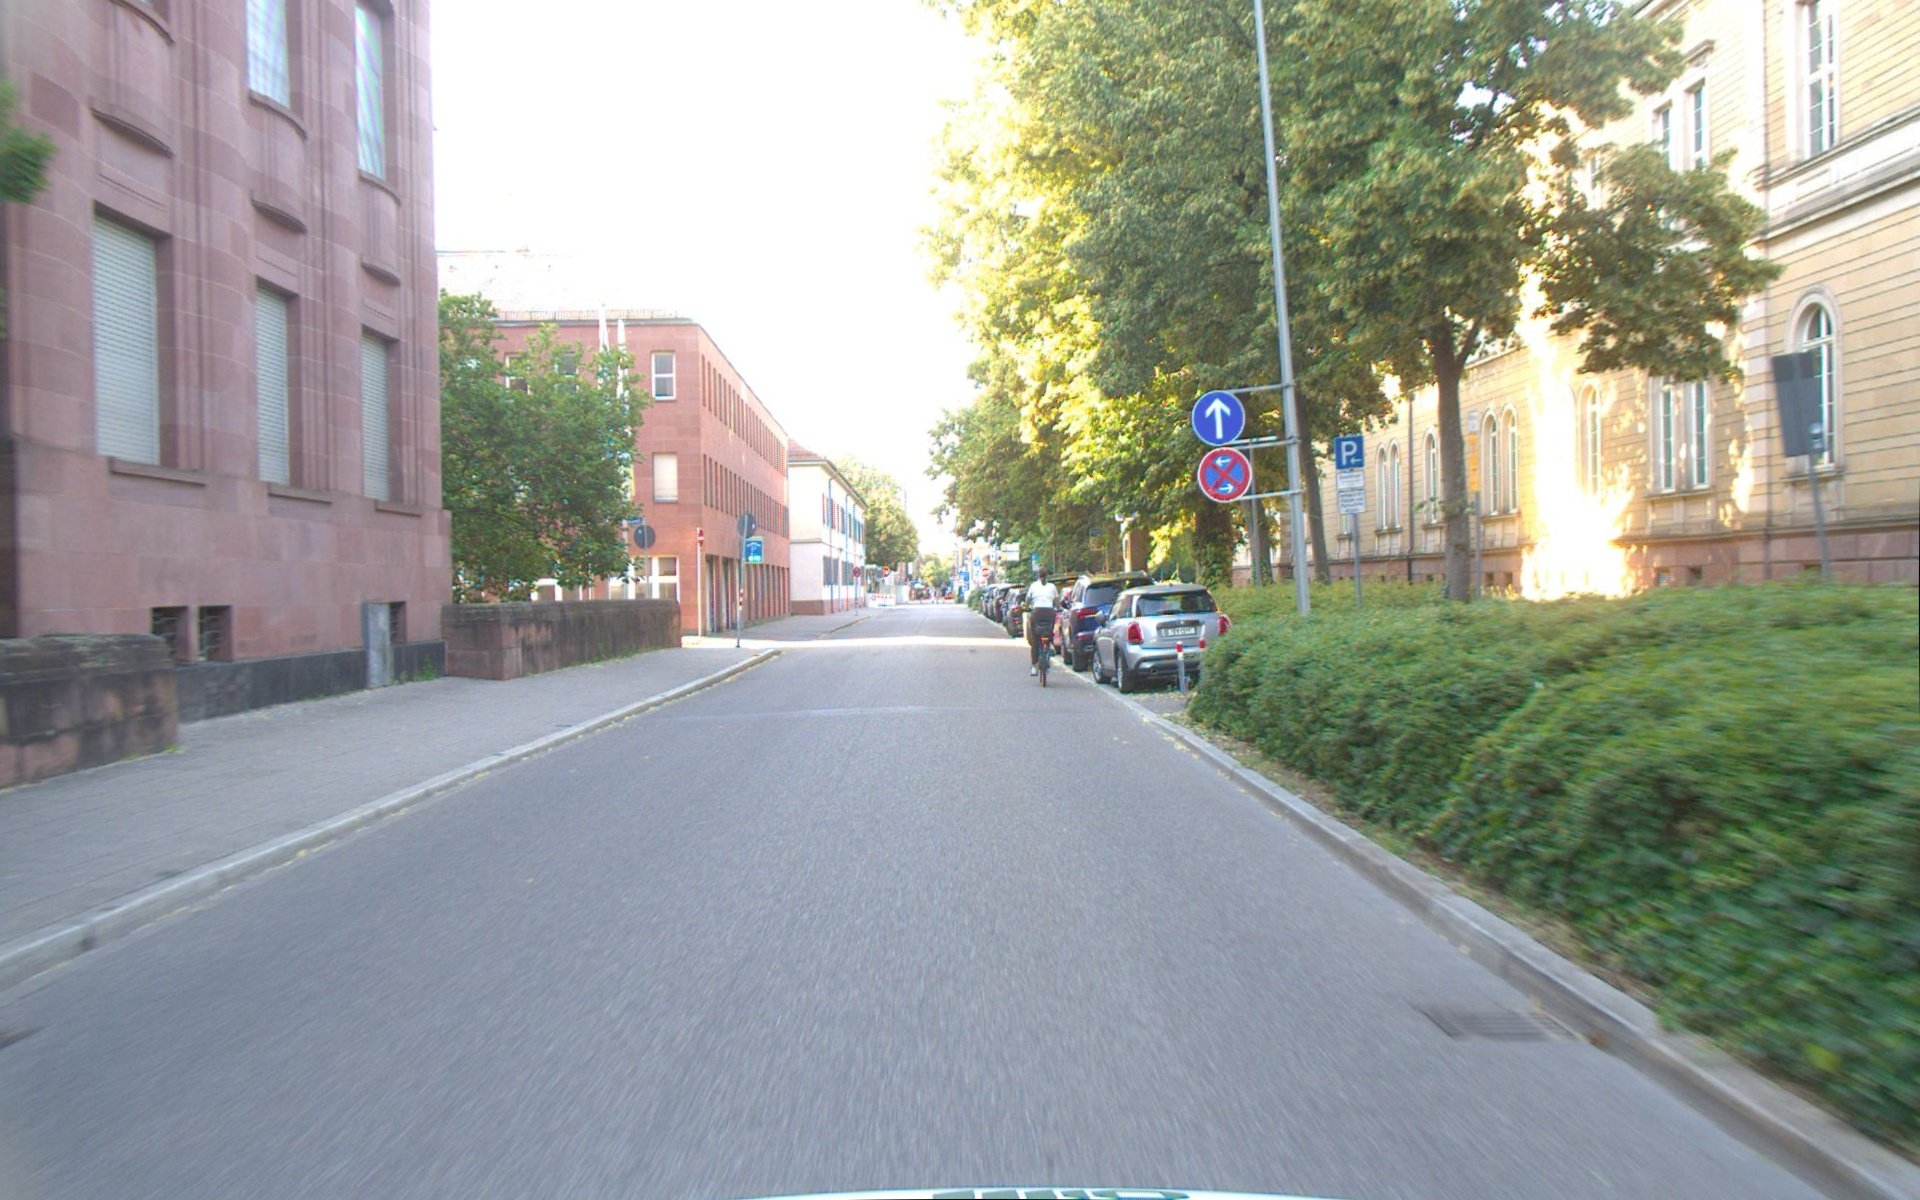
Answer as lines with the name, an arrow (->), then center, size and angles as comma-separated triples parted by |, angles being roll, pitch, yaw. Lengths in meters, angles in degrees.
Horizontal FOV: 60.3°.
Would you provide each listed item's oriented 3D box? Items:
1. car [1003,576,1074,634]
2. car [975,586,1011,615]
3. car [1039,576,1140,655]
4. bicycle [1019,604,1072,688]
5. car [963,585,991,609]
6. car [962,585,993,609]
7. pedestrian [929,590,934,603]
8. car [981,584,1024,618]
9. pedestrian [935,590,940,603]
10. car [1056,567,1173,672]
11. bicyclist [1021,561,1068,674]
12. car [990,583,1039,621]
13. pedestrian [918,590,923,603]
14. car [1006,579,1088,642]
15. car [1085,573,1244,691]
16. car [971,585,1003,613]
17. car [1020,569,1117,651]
car -> 2.516, 0.146, 53.760 | 1.953, 1.735, 3.999 | -2, 0, -2
car -> 1.987, 0.019, 100.509 | 1.953, 1.657, 3.999 | -2, 0, -2
car -> 2.768, 0.303, 36.080 | 1.681, 1.564, 4.047 | -2, 1, -2
bicycle -> 1.291, 0.677, 25.278 | 0.625, 1.214, 1.875 | 0, 0, -2
car -> 1.621, -0.304, 162.008 | 2.443, 2.234, 4.908 | -2, 0, -2
car -> 1.400, -0.265, 134.139 | 2.235, 1.886, 4.908 | -2, 0, -2
pedestrian -> -3.247, -0.404, 190.473 | 0.523, 1.497, 0.448 | -2, 0, -3
car -> 2.167, 0.060, 85.923 | 1.953, 1.657, 3.999 | -2, 0, -2
pedestrian -> -2.549, -0.426, 190.138 | 0.523, 1.497, 0.448 | -2, 0, -3
car -> 2.774, 0.307, 30.502 | 1.680, 1.742, 4.473 | -2, 1, 0
bicyclist -> 1.291, 0.262, 25.398 | 0.626, 1.696, 0.842 | 0, 0, -3
car -> 2.482, 0.087, 75.790 | 1.953, 1.612, 3.999 | -2, 0, -2
pedestrian -> -4.589, -0.419, 192.653 | 0.523, 1.497, 0.448 | -2, 0, -3
car -> 2.425, 0.276, 46.795 | 1.953, 1.624, 3.999 | -2, 0, -2
car -> 2.896, 0.446, 24.168 | 1.652, 1.472, 3.670 | -4, 0, -2
car -> 1.808, -0.093, 112.056 | 1.953, 1.779, 3.999 | -2, 0, -2
car -> 2.620, 0.214, 40.781 | 1.953, 1.847, 3.999 | -2, 0, -2
